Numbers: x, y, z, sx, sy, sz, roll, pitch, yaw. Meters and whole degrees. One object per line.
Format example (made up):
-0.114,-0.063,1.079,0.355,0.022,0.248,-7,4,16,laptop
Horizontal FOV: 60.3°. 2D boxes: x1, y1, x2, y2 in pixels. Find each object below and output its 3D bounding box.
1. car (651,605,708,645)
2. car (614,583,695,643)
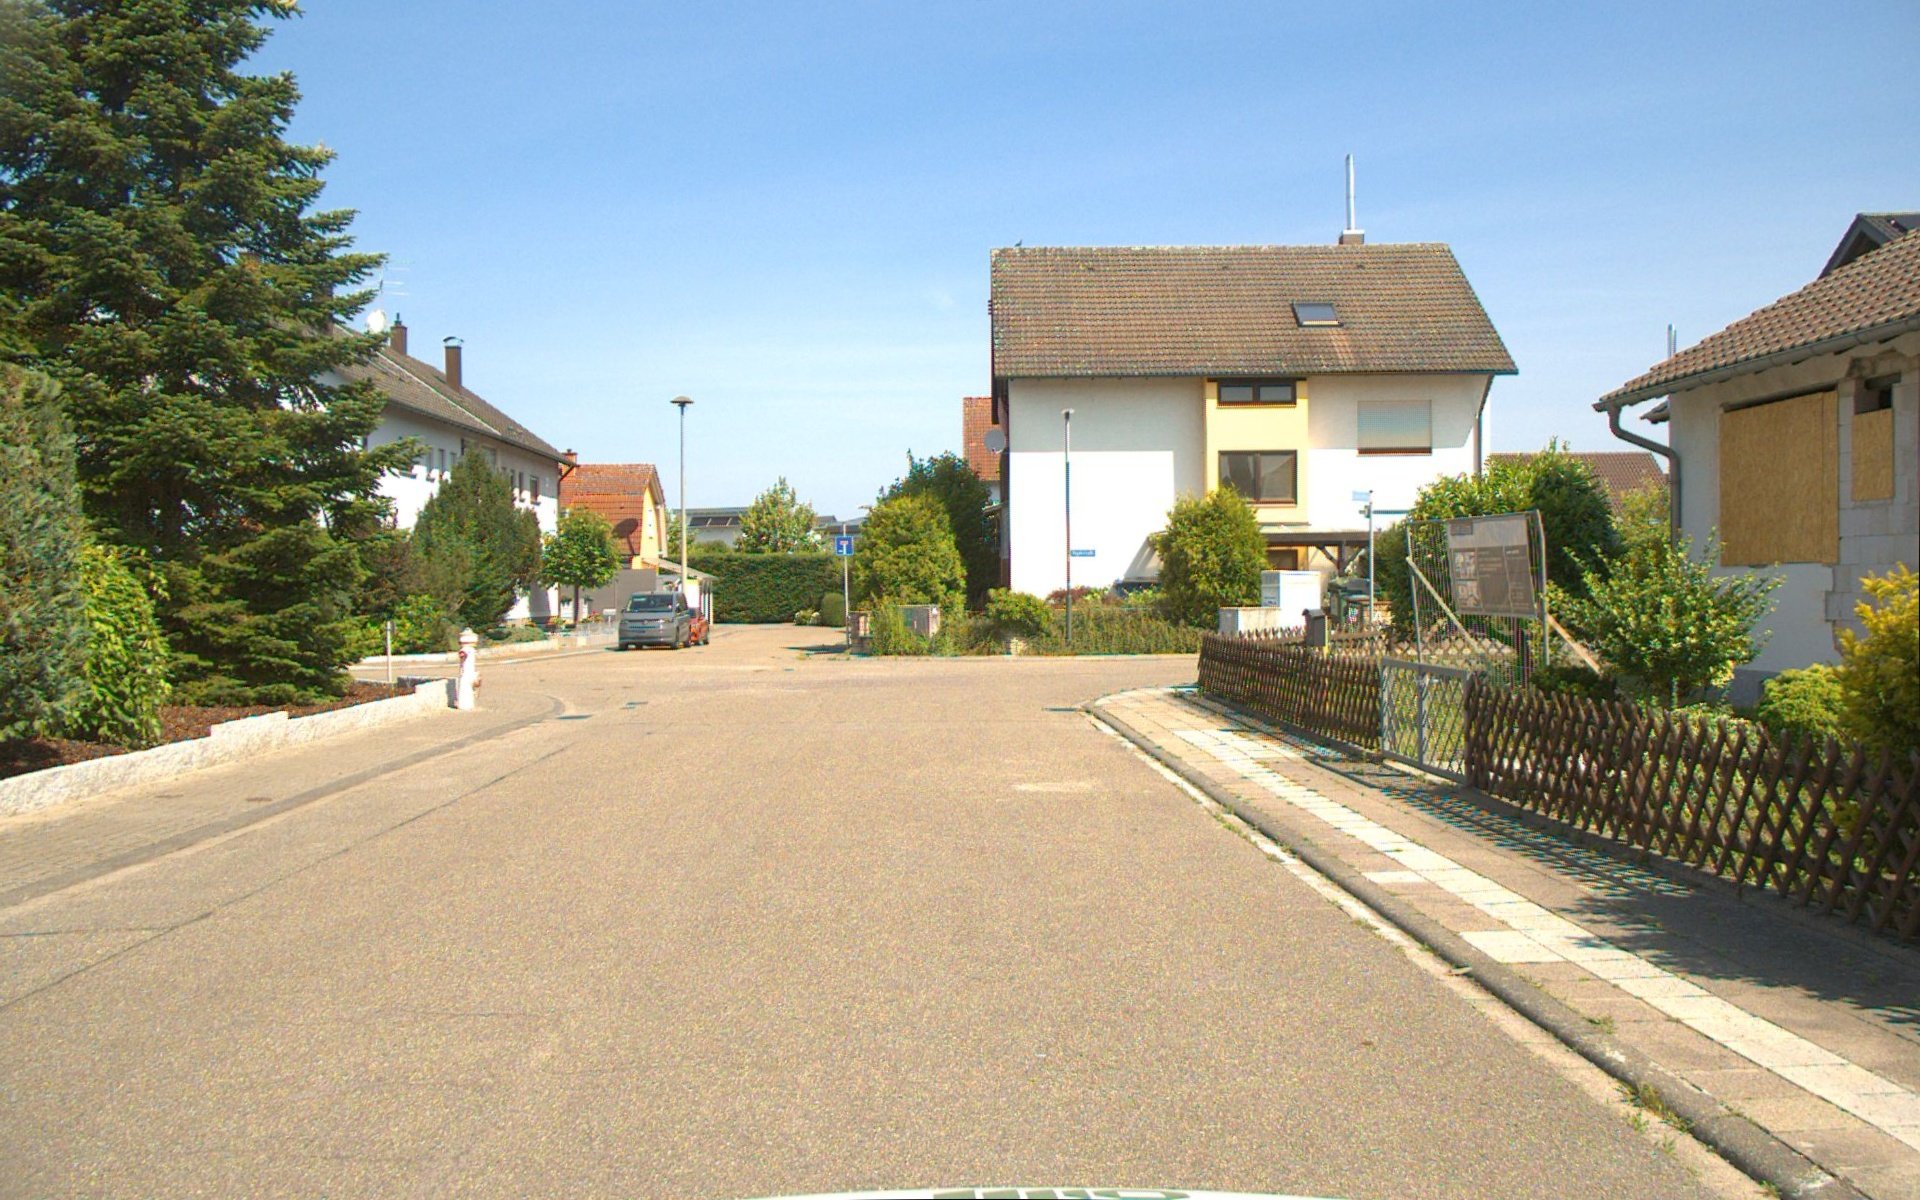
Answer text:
-10.398,0.912,61.428,1.619,1.388,3.777,-1,0,-3,car
-10.101,0.404,54.997,1.862,1.902,4.371,-1,0,0,car
